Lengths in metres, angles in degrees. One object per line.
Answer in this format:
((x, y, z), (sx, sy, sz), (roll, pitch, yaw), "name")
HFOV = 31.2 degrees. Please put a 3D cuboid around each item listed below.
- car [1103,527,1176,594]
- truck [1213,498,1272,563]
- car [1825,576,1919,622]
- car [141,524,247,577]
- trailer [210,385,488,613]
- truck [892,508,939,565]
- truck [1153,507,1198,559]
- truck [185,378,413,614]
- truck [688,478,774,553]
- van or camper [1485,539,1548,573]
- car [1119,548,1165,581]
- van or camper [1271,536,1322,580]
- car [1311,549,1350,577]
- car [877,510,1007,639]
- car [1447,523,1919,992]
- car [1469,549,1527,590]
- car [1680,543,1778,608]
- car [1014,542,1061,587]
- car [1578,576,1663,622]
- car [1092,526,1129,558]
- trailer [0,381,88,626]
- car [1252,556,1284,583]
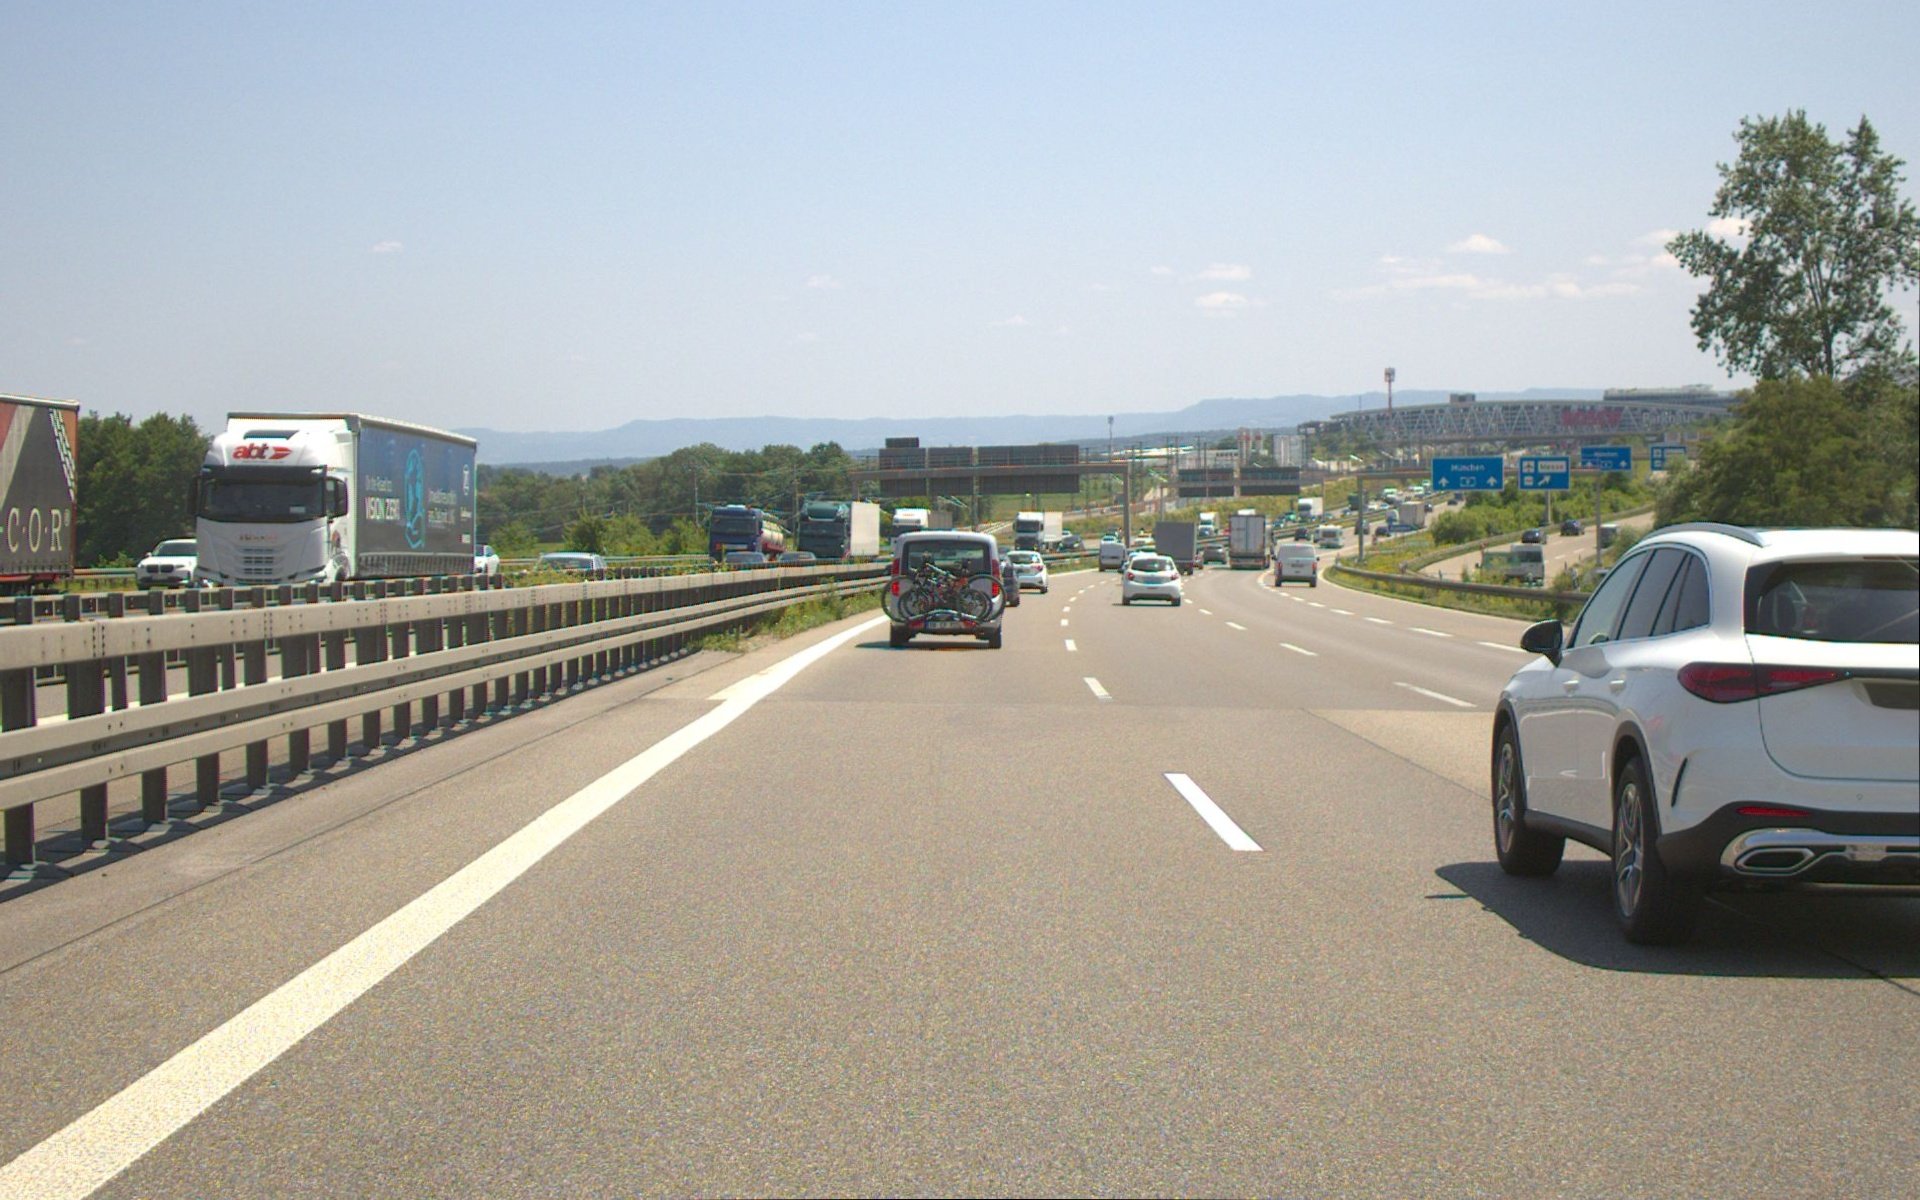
((5.292, -1.168, 101.643), (1.926, 1.912, 4.518), (1, 1, 1), "car")
((20.735, -5.143, 251.684), (4.040, 4.247, 11.756), (1, 3, 6), "truck")
((26.711, -0.035, 100.233), (1.699, 1.273, 4.001), (1, 1, -4), "car")
((-23.669, -1.534, 106.364), (1.678, 1.607, 4.401), (1, 1, 9), "car")
((-12.718, -2.012, 73.254), (2.945, 4.327, 14.620), (1, 1, 1), "trailer")
((-3.279, -4.724, 255.435), (2.881, 4.103, 6.384), (2, 1, 4), "truck")
((13.490, -4.162, 215.009), (2.703, 3.098, 10.658), (1, 1, 4), "truck")
((-12.831, -1.964, 67.329), (2.928, 4.330, 6.915), (1, 1, 1), "truck")
((-12.122, -4.444, 183.000), (3.219, 3.773, 12.901), (1, 1, 2), "truck")
((33.828, -2.688, 208.965), (2.528, 2.007, 4.462), (1, 1, -8), "van or camper")
((8.200, -1.608, 154.385), (1.982, 1.468, 4.000), (1, 1, 4), "car")
((15.640, -1.941, 159.962), (2.156, 2.007, 4.304), (1, 1, 3), "van or camper")
((23.186, -2.295, 215.305), (1.993, 1.684, 4.000), (1, 1, 0), "car")
((-0.251, -0.406, 54.409), (1.926, 1.912, 4.948), (1, 1, 1), "car")
((3.428, 0.540, 14.652), (1.898, 1.641, 4.999), (1, 1, -1), "car")
((27.168, -1.559, 173.691), (1.993, 2.007, 4.001), (1, 1, -4), "car")
((23.524, -0.747, 105.255), (1.939, 1.917, 4.179), (1, 1, -1), "car")
((2.773, -1.257, 122.363), (1.576, 1.547, 3.964), (1, 1, 3), "car")
((24.312, -0.057, 126.719), (1.993, 1.590, 4.001), (1, 1, -5), "car")
((9.767, -3.761, 223.395), (2.186, 1.996, 3.999), (1, 1, 5), "car")
((-17.286, -1.643, 58.241), (2.559, 4.091, 8.715), (1, 1, 1), "trailer")
((20.132, -2.011, 224.731), (1.994, 1.684, 3.999), (1, 1, 4), "car")
